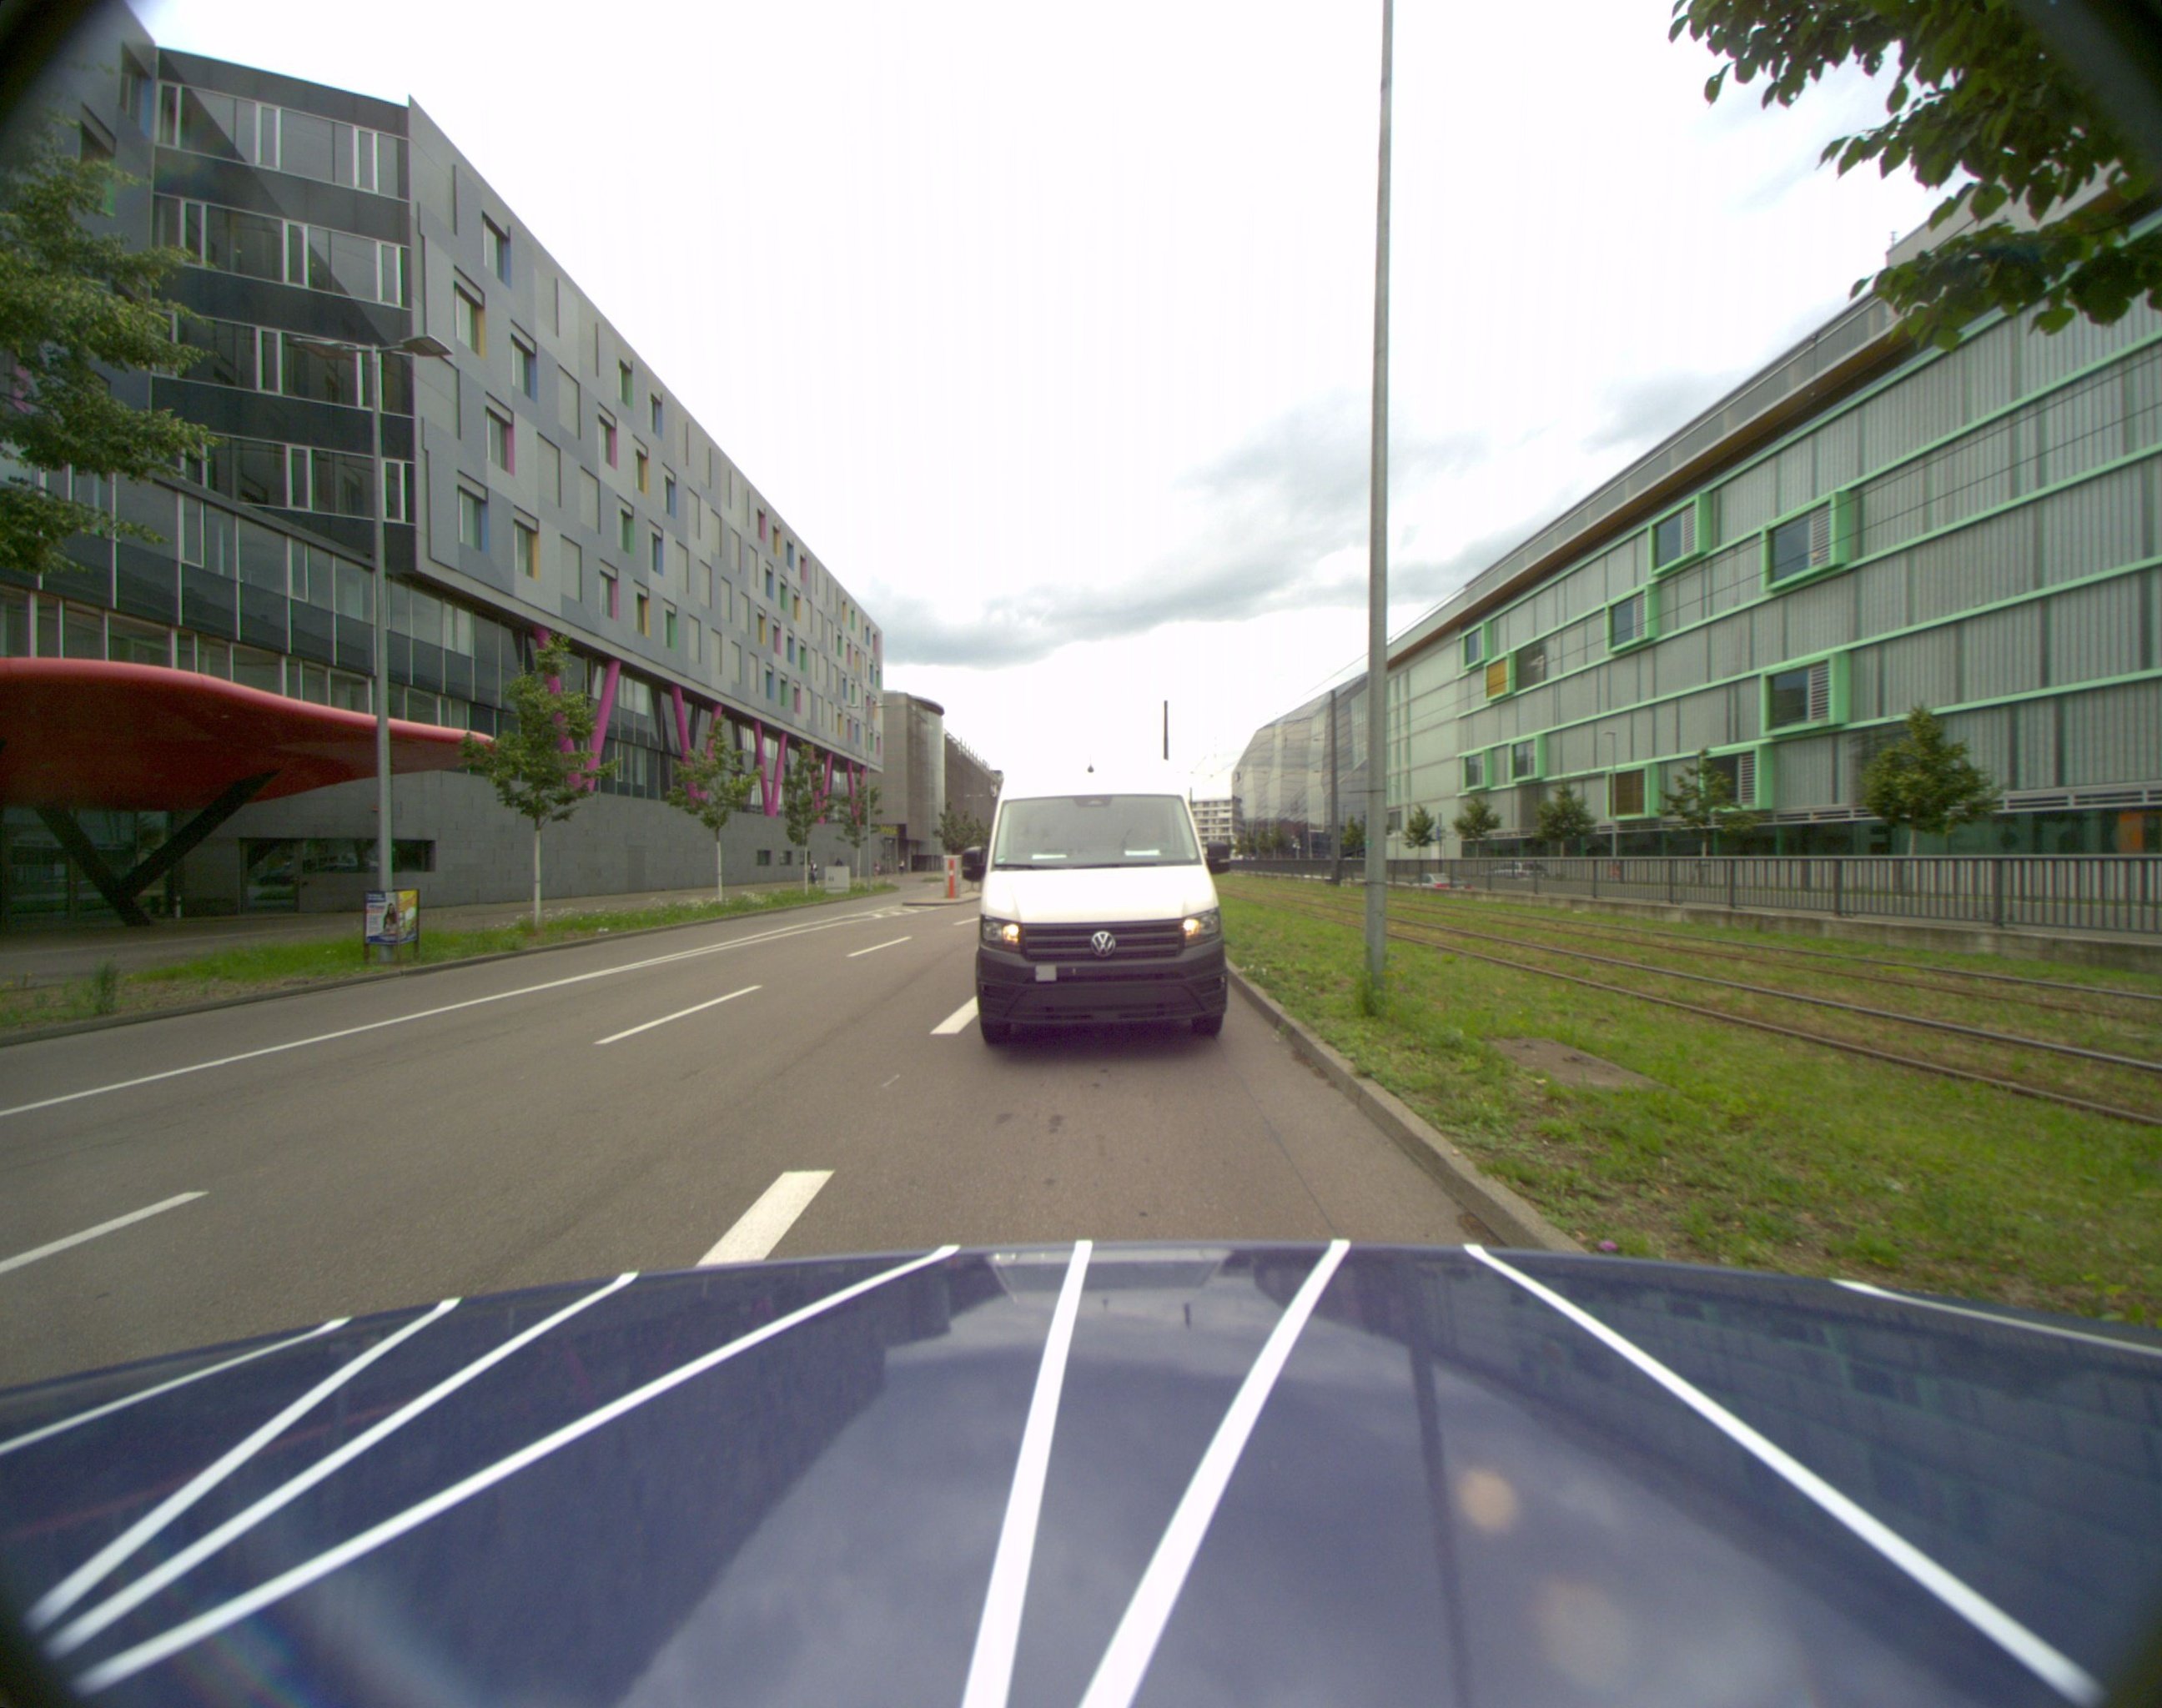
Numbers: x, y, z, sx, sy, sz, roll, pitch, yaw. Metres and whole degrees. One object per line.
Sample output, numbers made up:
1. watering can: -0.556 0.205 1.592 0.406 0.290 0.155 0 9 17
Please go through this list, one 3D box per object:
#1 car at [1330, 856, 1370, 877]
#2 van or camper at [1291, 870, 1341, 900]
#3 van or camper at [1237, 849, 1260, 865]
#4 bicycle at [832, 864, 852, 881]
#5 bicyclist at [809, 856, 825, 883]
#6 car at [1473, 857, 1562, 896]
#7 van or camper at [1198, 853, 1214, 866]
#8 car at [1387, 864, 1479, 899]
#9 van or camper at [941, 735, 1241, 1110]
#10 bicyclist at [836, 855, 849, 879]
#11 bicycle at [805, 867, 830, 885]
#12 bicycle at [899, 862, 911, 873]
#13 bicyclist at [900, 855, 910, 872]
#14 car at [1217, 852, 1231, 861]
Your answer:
1. car: 24.605 1.123 69.789 1.998 1.813 4.968 -1 0 1
2. van or camper: 16.496 2.154 53.602 1.894 1.889 5.124 0 0 -1
3. van or camper: 24.262 0.372 110.269 2.178 2.273 5.358 0 0 1
4. bicycle: -18.362 1.419 58.486 0.801 1.150 2.346 -2 -4 0
5. bicyclist: -17.479 1.040 50.344 0.784 1.792 0.705 -2 0 0
6. car: 24.050 1.183 42.142 1.998 2.002 5.295 -1 0 1
7. van or camper: 24.102 1.046 146.939 2.178 2.273 6.507 -2 0 1
8. car: 16.188 1.221 35.281 1.733 1.437 4.921 1 -1 -4
9. van or camper: 0.075 0.484 7.807 2.043 2.572 5.041 -1 0 0
10. bicyclist: -18.362 0.980 58.541 0.784 1.790 0.705 -1 -4 0
11. bicycle: -17.472 1.436 50.377 0.801 1.151 2.345 -2 -1 0
12. bicycle: -18.925 1.454 81.688 0.785 1.187 2.220 0 0 -2
13. bicyclist: -18.934 1.005 81.707 0.772 1.776 0.974 0 0 -1
14. car: 26.816 0.476 142.782 1.998 1.583 4.769 -1 -2 3
